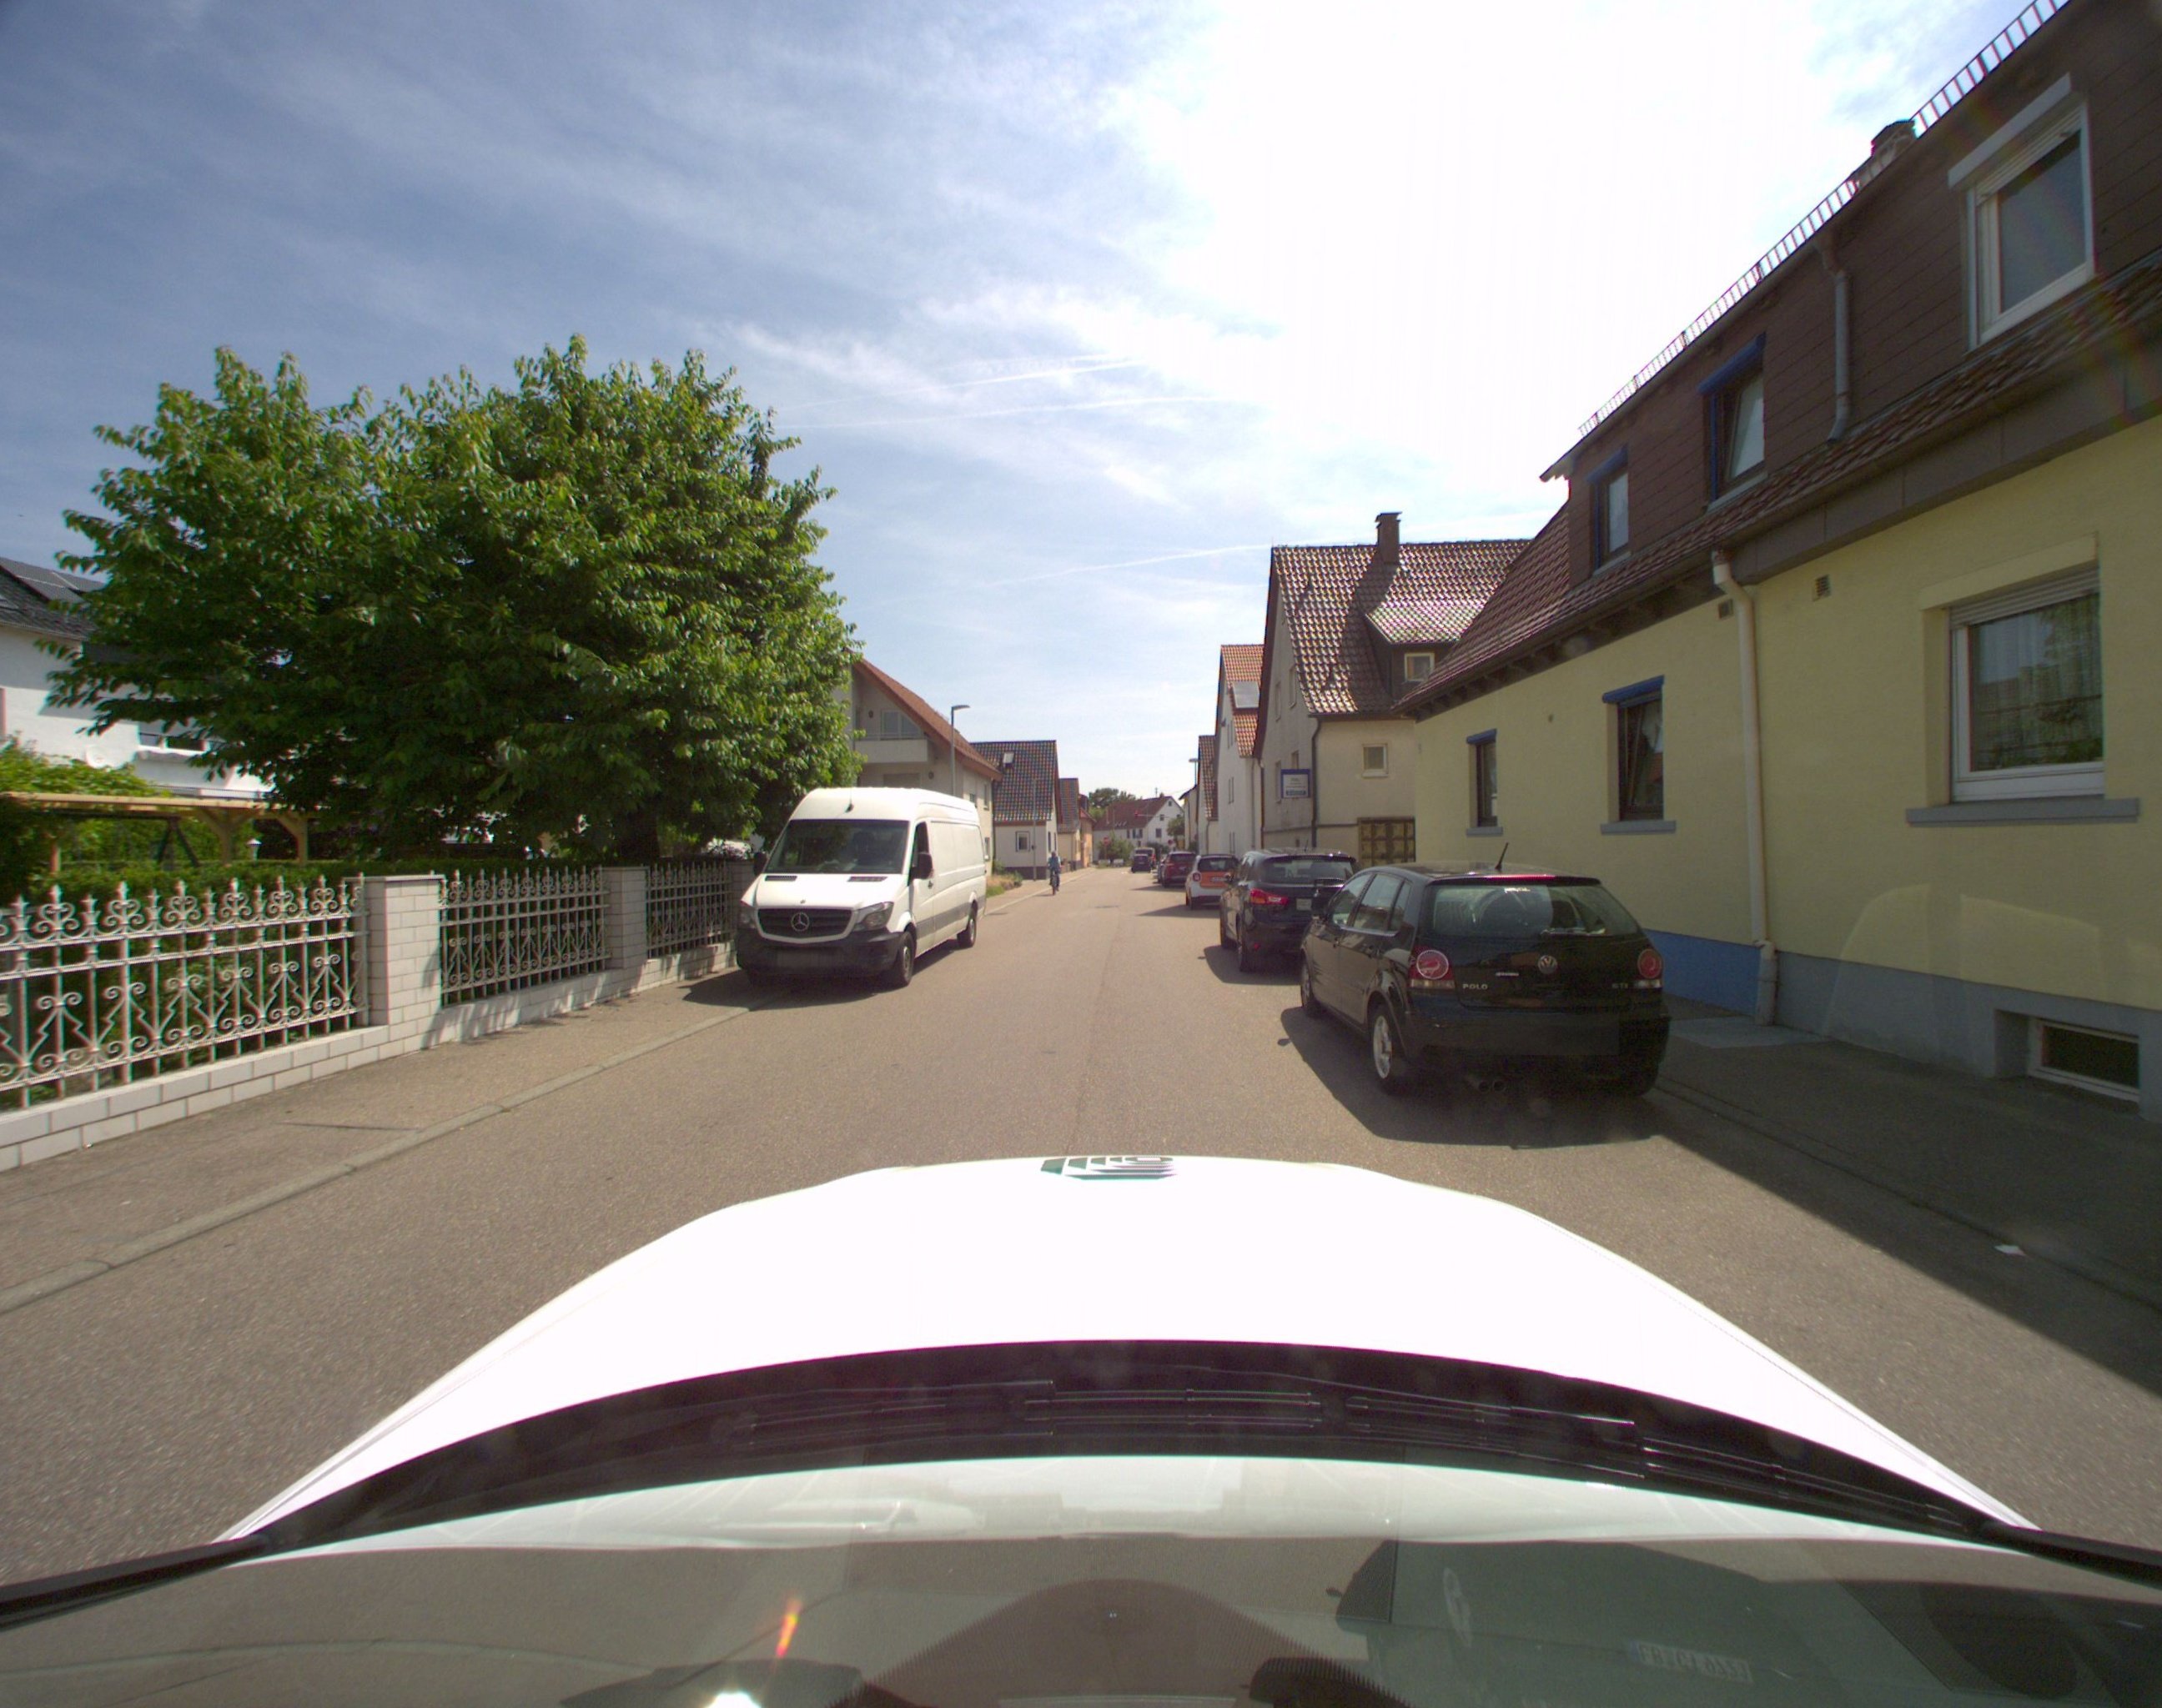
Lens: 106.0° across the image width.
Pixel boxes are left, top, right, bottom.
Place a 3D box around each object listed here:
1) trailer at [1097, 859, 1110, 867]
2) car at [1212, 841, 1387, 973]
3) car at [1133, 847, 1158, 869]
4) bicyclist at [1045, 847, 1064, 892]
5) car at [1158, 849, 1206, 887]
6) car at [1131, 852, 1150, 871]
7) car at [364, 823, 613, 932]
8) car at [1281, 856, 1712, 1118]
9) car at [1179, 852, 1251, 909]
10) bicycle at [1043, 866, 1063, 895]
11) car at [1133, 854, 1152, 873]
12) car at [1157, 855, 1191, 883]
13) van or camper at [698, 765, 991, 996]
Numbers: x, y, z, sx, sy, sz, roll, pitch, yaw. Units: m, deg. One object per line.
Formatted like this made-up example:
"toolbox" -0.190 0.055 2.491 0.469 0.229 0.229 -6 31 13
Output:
"trailer" 2.808 1.081 100.142 1.494 0.927 1.014 1 0 5
"car" 2.992 0.646 12.018 1.721 1.600 4.258 0 0 4
"car" 6.723 0.370 84.257 2.116 2.158 4.749 -1 0 9
"bicyclist" -1.082 0.637 33.708 0.710 1.799 0.942 -1 0 1
"car" 4.759 0.646 38.922 1.868 1.700 4.184 0 0 1
"car" 5.510 0.667 75.069 1.508 1.624 3.190 -2 0 7
"car" -14.752 0.566 20.464 4.784 2.492 1.966 -1 0 2
"car" 2.749 0.738 6.378 1.604 1.431 3.756 0 0 3
"car" 3.853 0.716 23.840 1.667 1.559 3.041 0 0 1
"bicycle" -1.153 1.069 33.803 0.667 1.132 2.190 -1 0 2
"car" 5.297 0.772 70.002 1.508 1.567 3.190 0 0 7
"car" 5.107 0.788 45.140 1.755 1.424 4.598 -1 0 5
"van or camper" -3.032 0.297 12.526 2.175 2.571 6.813 0 0 3
